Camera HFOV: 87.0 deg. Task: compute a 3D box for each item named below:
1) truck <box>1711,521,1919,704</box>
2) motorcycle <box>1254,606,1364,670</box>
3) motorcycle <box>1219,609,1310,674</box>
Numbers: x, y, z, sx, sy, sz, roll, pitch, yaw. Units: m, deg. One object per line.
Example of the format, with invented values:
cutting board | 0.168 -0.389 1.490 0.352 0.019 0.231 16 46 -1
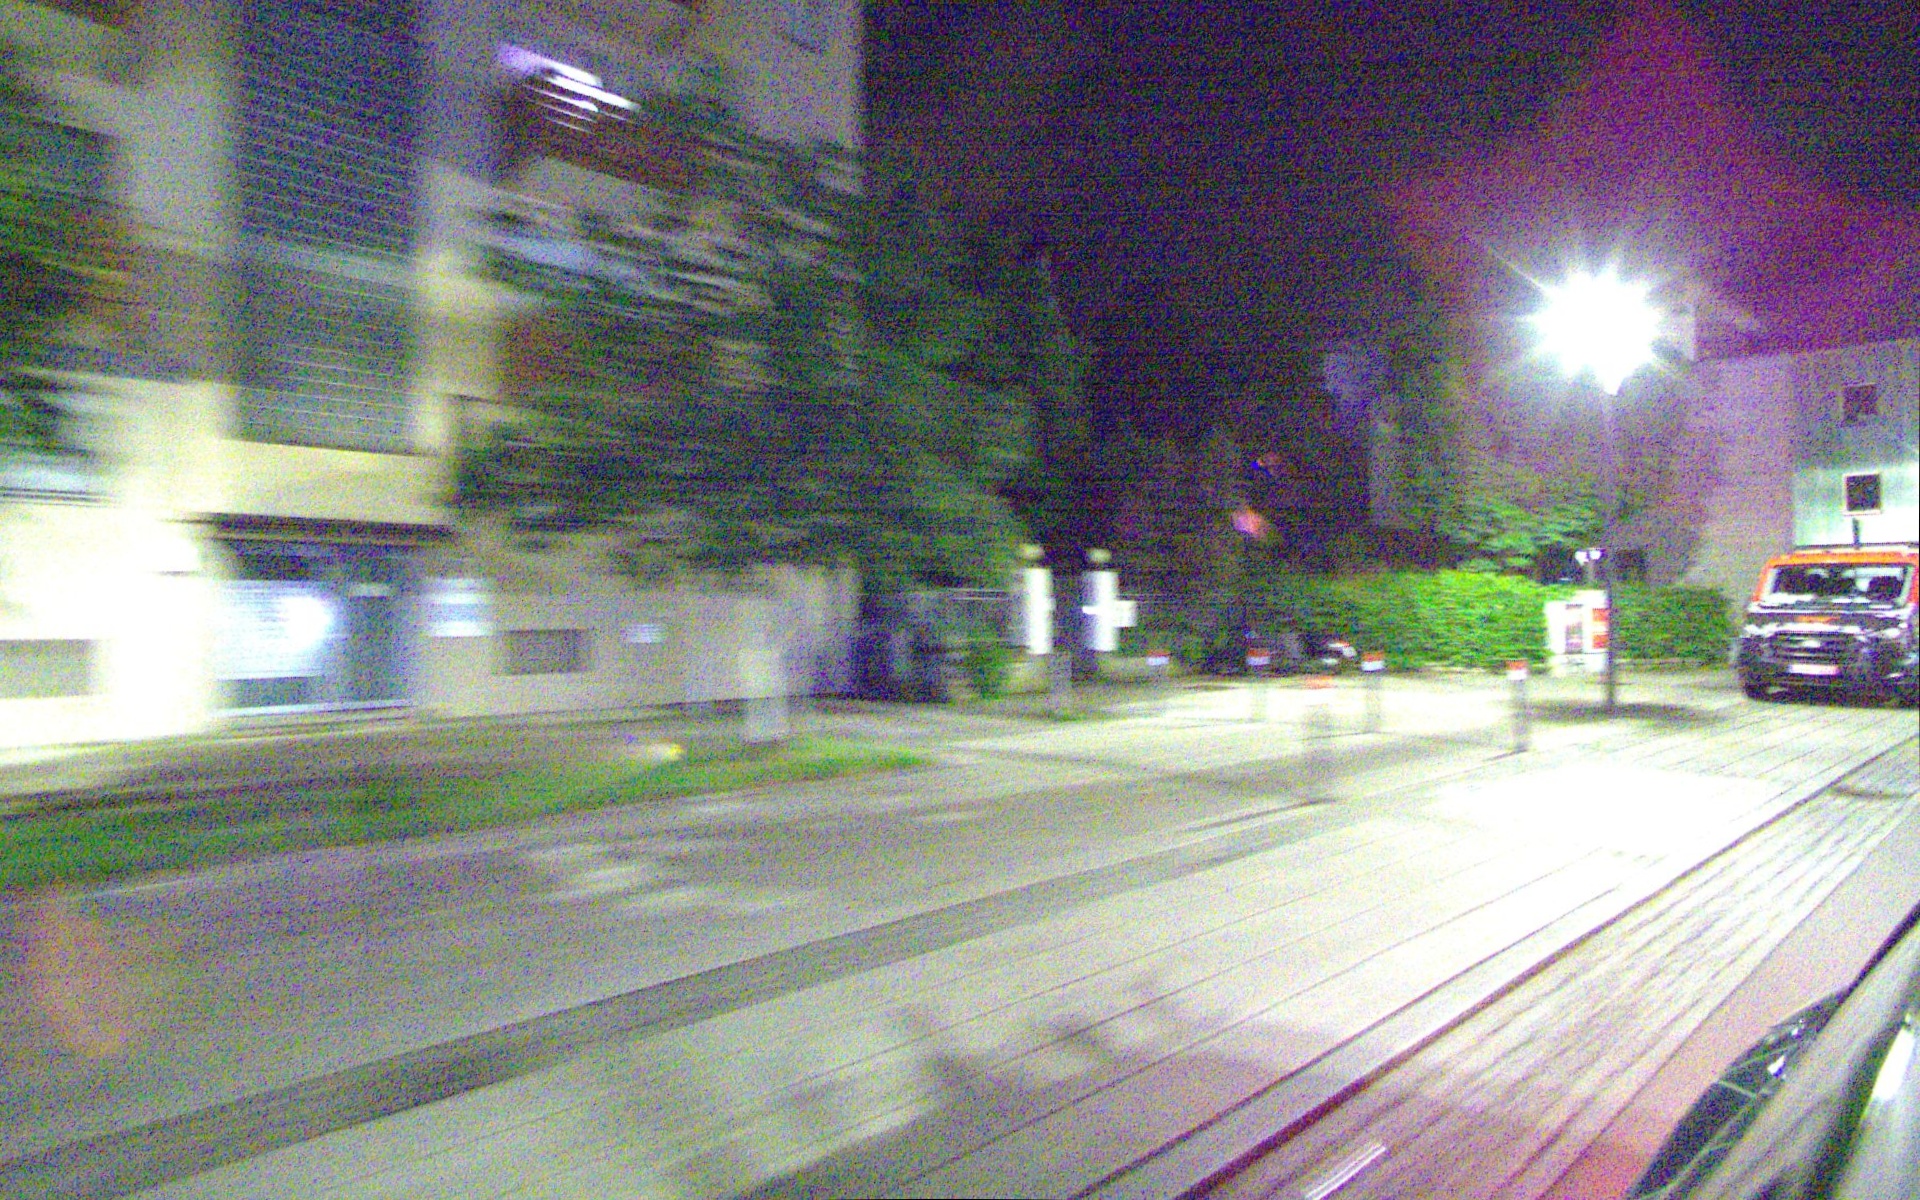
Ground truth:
truck | 13.875 0.138 15.469 5.673 2.341 2.342 0 0 -37
motorcycle | 6.875 0.724 20.023 0.551 1.201 2.019 0 -1 -42
motorcycle | 5.874 0.787 19.613 0.551 1.201 1.631 0 -1 -42
